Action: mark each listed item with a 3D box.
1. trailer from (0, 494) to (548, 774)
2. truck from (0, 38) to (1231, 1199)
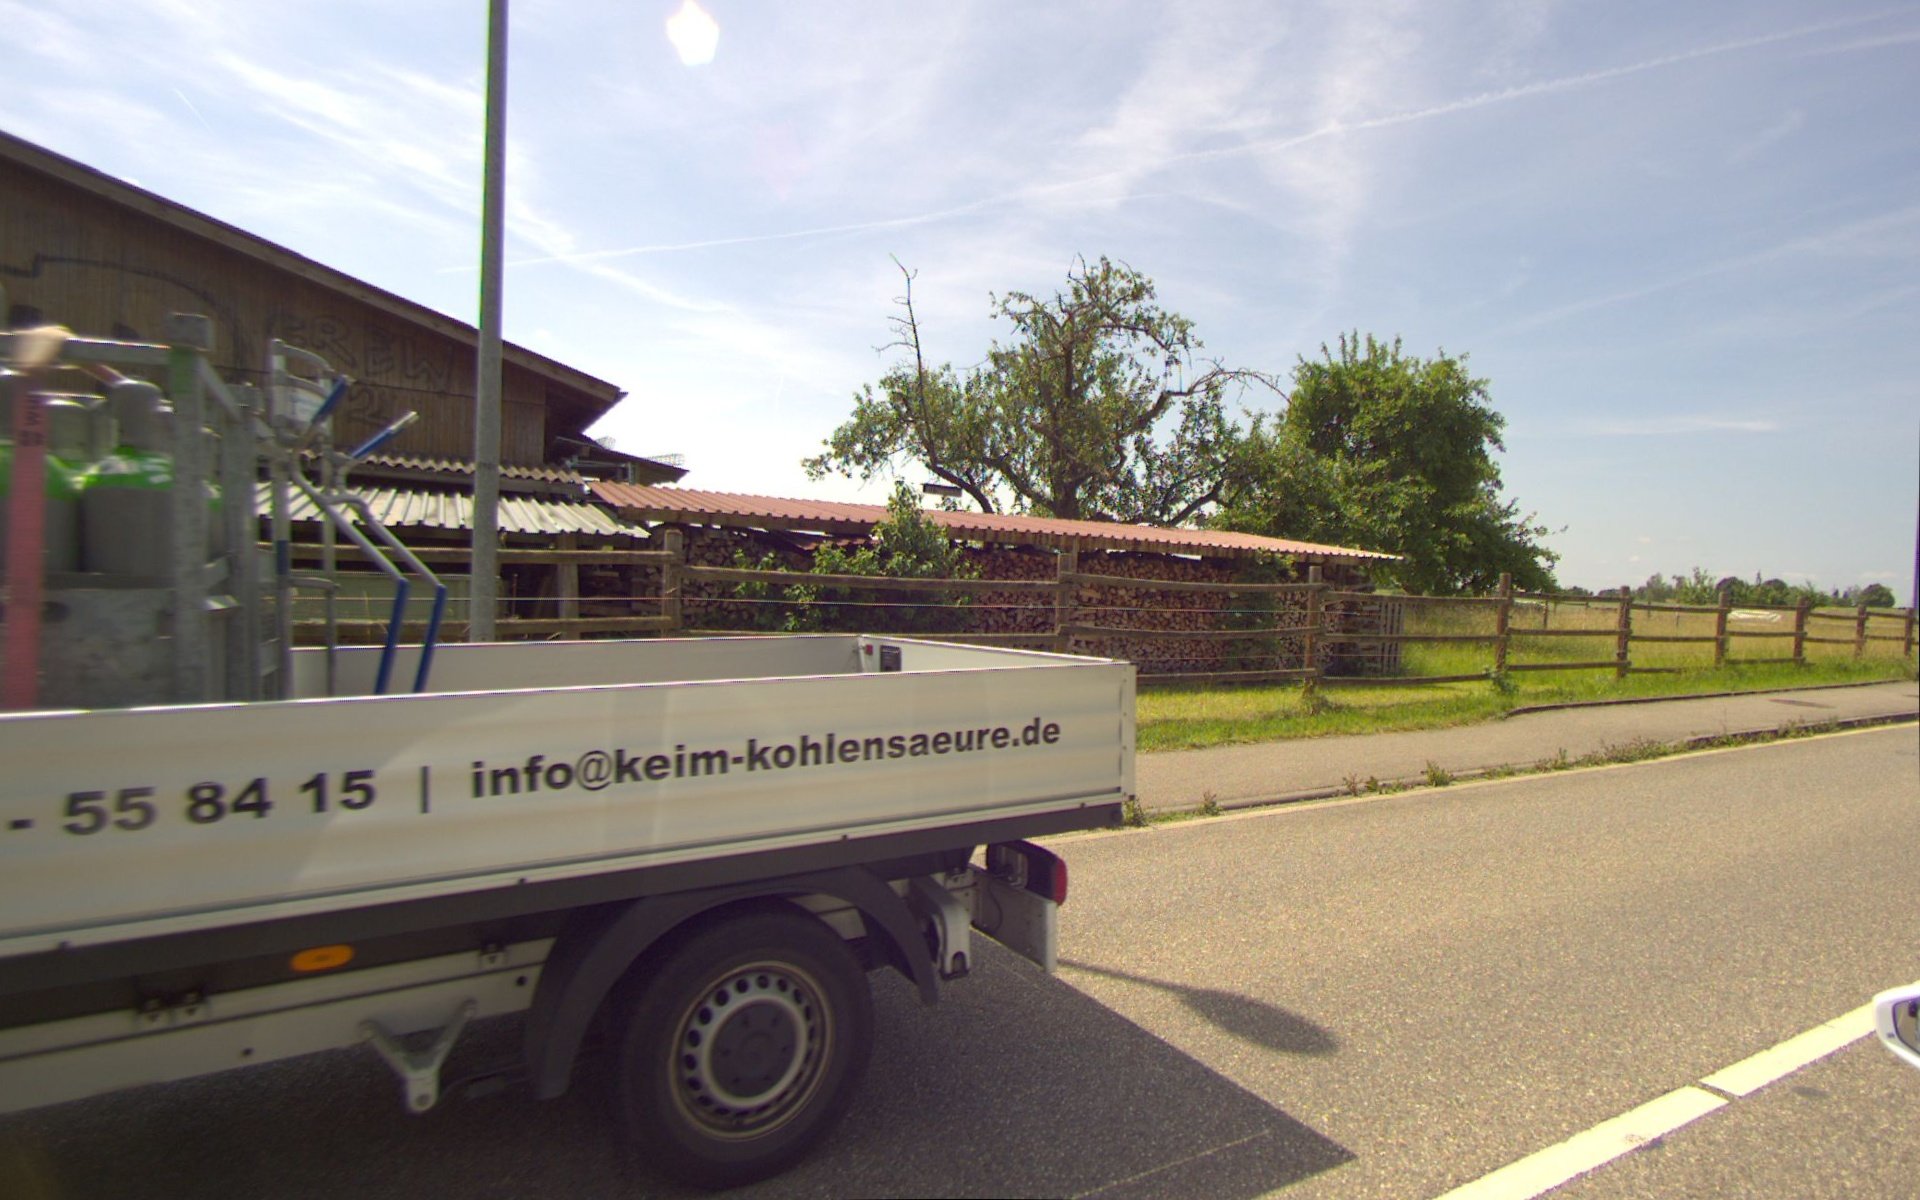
[{"bbox_3d":[-5.873,0.213,7.456,4.970,1.726,2.144,1,0,-30],"label":"trailer"},{"bbox_3d":[-2.512,0.235,2.352,6.416,2.324,2.211,1,0,-31],"label":"truck"}]
